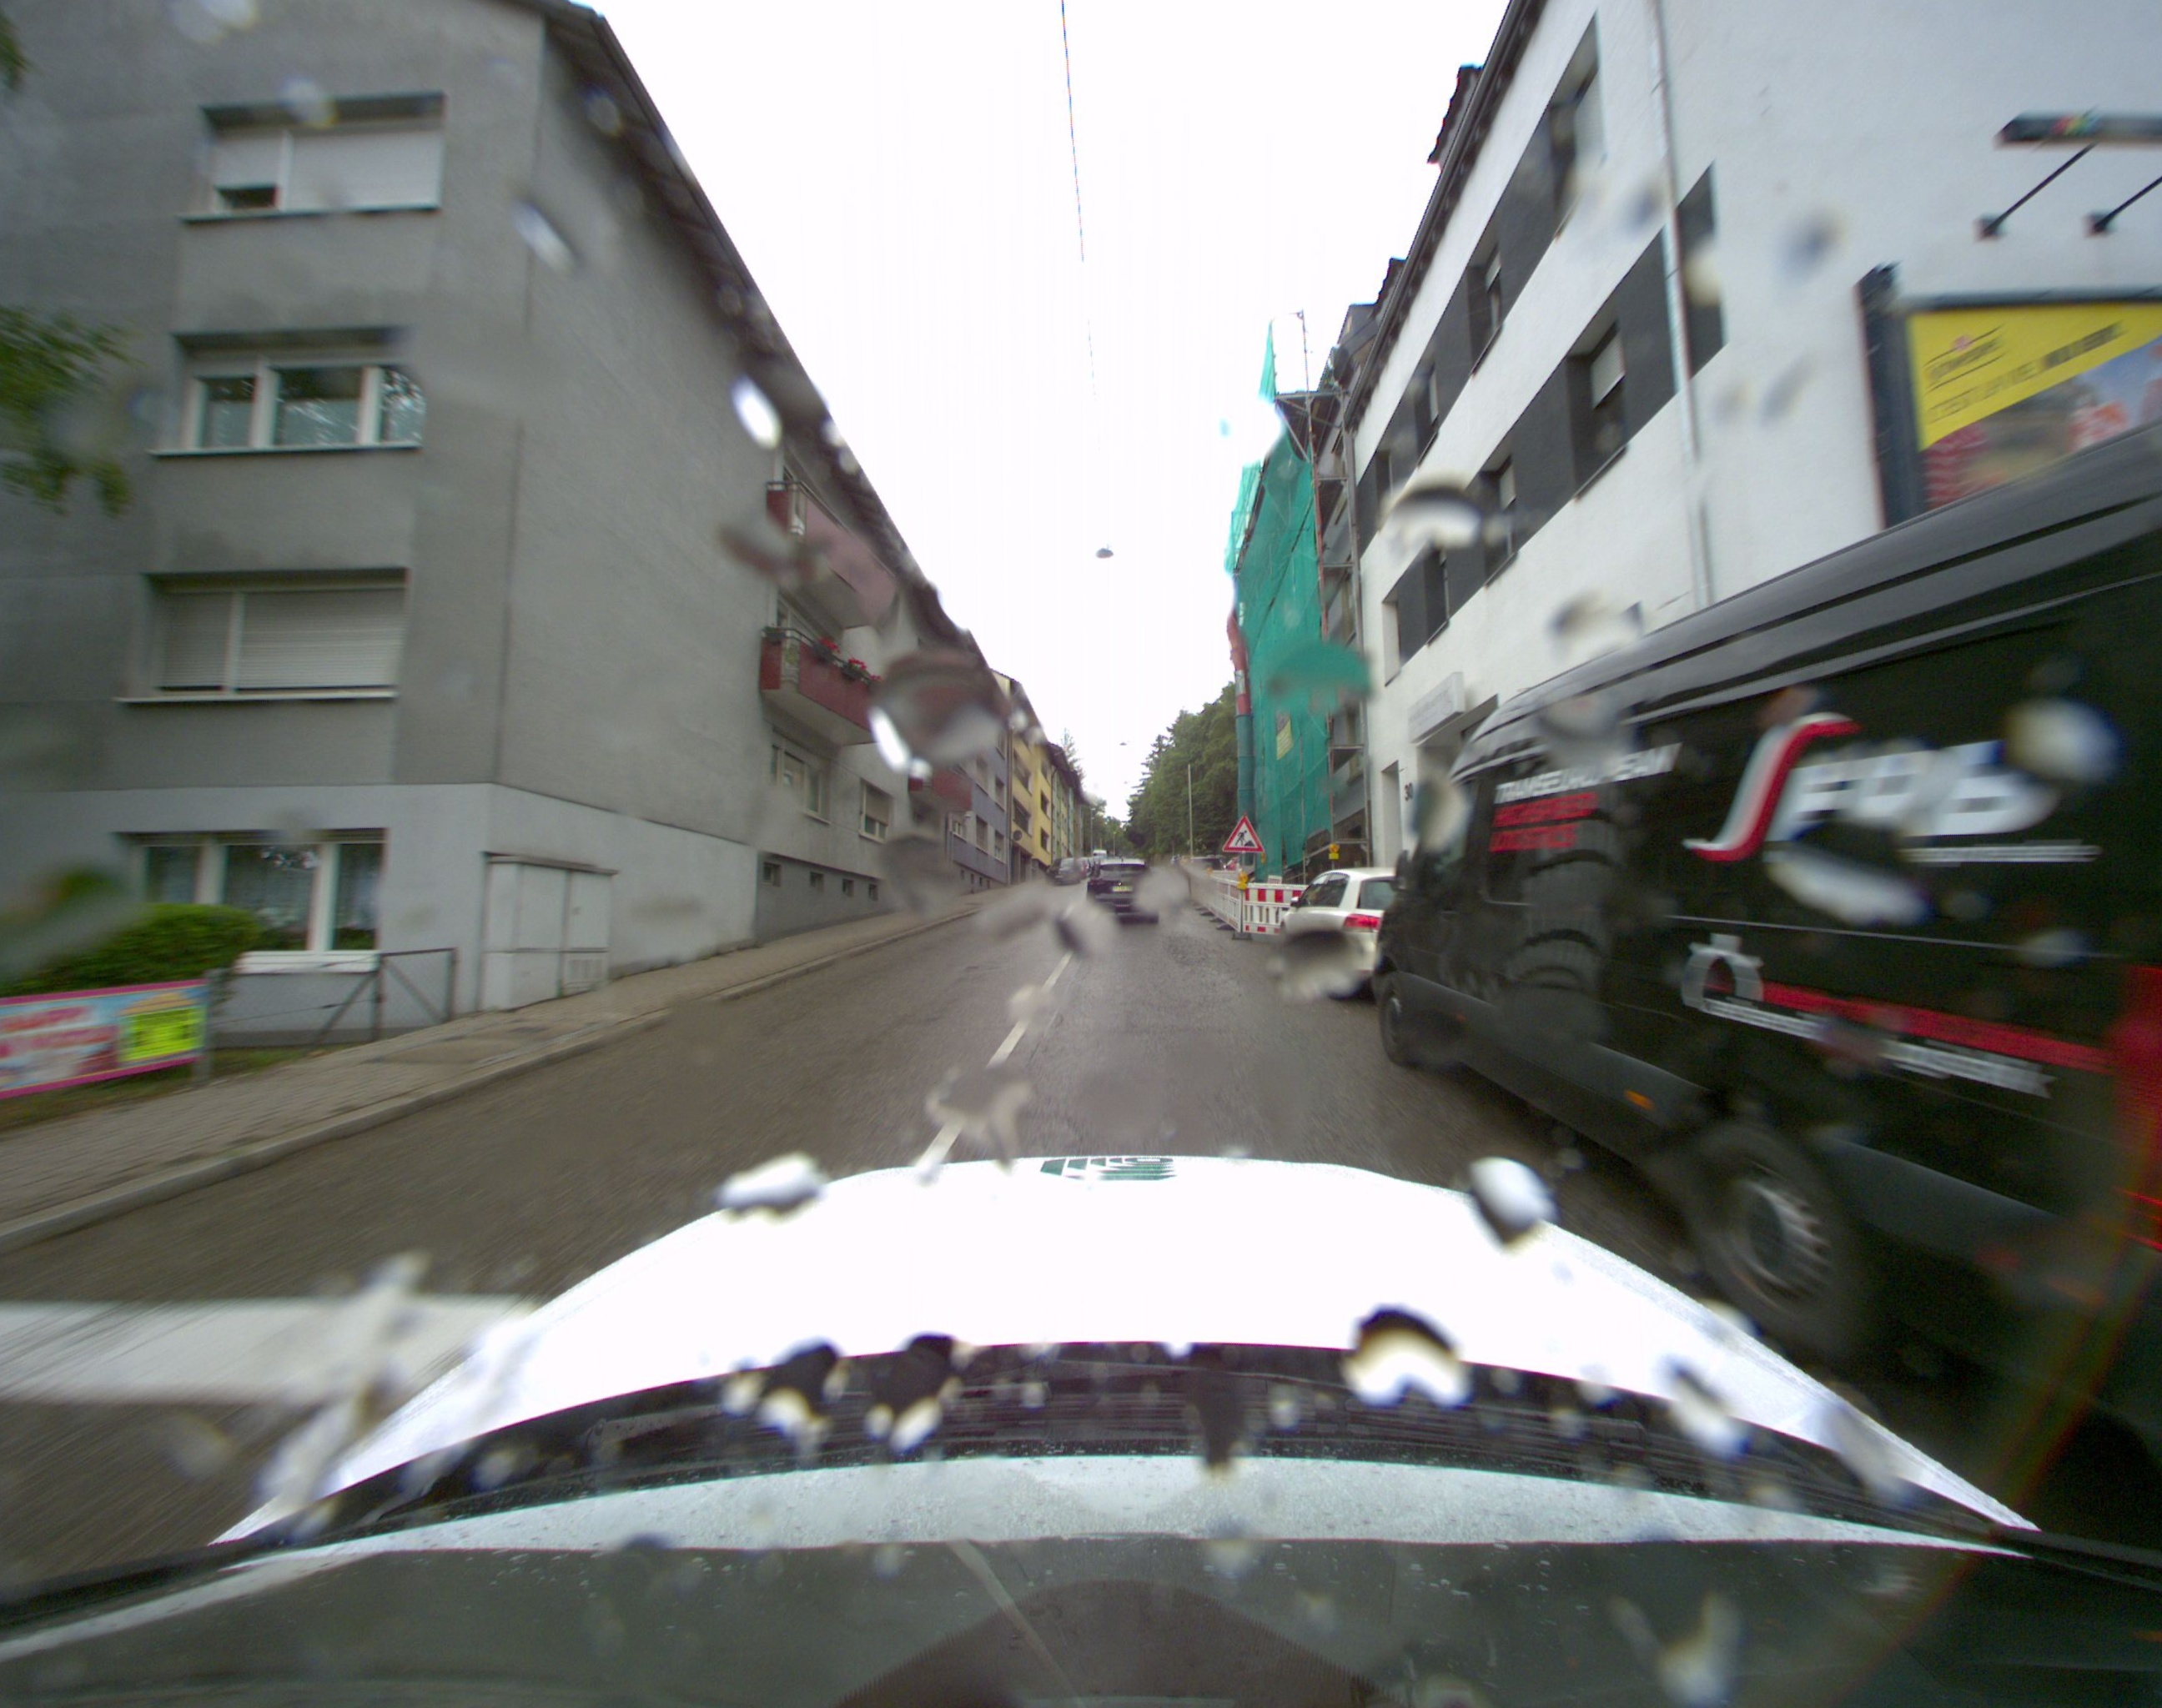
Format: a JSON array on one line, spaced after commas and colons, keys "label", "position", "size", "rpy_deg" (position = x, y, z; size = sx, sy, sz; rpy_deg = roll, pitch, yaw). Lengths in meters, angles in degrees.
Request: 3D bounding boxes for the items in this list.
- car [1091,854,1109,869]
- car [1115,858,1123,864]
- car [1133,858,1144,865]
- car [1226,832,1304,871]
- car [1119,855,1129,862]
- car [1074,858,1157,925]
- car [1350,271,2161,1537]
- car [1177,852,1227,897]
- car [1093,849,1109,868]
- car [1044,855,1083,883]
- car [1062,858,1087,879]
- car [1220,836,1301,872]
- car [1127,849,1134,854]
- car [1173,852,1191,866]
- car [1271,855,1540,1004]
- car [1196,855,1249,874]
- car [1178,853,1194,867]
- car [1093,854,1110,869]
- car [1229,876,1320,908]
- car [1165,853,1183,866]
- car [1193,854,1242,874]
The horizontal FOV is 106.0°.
[{"label": "car", "position": [2.222, 0.821, 93.096], "size": [1.982, 1.585, 4.307], "rpy_deg": [-1, 0, 2]}, {"label": "car", "position": [9.195, 1.708, 197.157], "size": [2.066, 1.559, 4.002], "rpy_deg": [0, 0, 2]}, {"label": "car", "position": [12.420, 1.655, 175.458], "size": [2.068, 1.559, 4.000], "rpy_deg": [0, 0, 0]}, {"label": "car", "position": [10.227, -0.143, 45.483], "size": [3.812, 1.702, 1.729], "rpy_deg": [-7, 0, 1]}, {"label": "car", "position": [8.893, 0.943, 169.934], "size": [2.067, 1.559, 4.002], "rpy_deg": [0, 0, 2]}, {"label": "car", "position": [0.954, 0.921, 21.771], "size": [1.985, 1.559, 4.004], "rpy_deg": [1, 1, 3]}, {"label": "car", "position": [3.218, 0.203, 4.289], "size": [1.985, 2.414, 5.840], "rpy_deg": [0, -2, 3]}, {"label": "car", "position": [5.030, 0.804, 34.213], "size": [1.634, 1.762, 4.002], "rpy_deg": [1, 1, 2]}, {"label": "car", "position": [2.610, 0.564, 107.371], "size": [1.982, 2.475, 5.787], "rpy_deg": [-1, 0, 2]}, {"label": "car", "position": [-1.073, 0.921, 52.083], "size": [1.984, 1.650, 4.448], "rpy_deg": [-1, 0, 6]}, {"label": "car", "position": [-0.488, 1.108, 62.453], "size": [1.721, 1.472, 3.493], "rpy_deg": [-1, 0, 2]}, {"label": "car", "position": [10.591, 0.001, 48.300], "size": [4.325, 1.529, 1.878], "rpy_deg": [-8, 0, 2]}, {"label": "car", "position": [15.386, -0.775, 251.374], "size": [1.984, 1.560, 4.005], "rpy_deg": [-2, -2, 5]}, {"label": "car", "position": [12.159, 0.575, 98.206], "size": [1.803, 1.530, 4.420], "rpy_deg": [-3, 0, 3]}, {"label": "car", "position": [3.859, 0.798, 10.580], "size": [1.985, 1.512, 4.341], "rpy_deg": [1, -1, 3]}, {"label": "car", "position": [11.796, 0.864, 68.055], "size": [4.183, 1.496, 1.760], "rpy_deg": [2, 0, 1]}, {"label": "car", "position": [11.672, 0.646, 90.963], "size": [1.625, 1.530, 4.006], "rpy_deg": [0, 0, 6]}, {"label": "car", "position": [2.554, 0.854, 99.436], "size": [1.982, 1.755, 4.482], "rpy_deg": [-1, 0, 2]}, {"label": "car", "position": [9.890, 1.933, 41.946], "size": [4.252, 1.466, 1.894], "rpy_deg": [-1, 0, 1]}, {"label": "car", "position": [12.387, 0.708, 108.633], "size": [1.804, 1.530, 4.418], "rpy_deg": [-3, 0, 1]}, {"label": "car", "position": [12.702, 0.916, 75.894], "size": [4.185, 1.734, 1.759], "rpy_deg": [2, 0, -1]}]
